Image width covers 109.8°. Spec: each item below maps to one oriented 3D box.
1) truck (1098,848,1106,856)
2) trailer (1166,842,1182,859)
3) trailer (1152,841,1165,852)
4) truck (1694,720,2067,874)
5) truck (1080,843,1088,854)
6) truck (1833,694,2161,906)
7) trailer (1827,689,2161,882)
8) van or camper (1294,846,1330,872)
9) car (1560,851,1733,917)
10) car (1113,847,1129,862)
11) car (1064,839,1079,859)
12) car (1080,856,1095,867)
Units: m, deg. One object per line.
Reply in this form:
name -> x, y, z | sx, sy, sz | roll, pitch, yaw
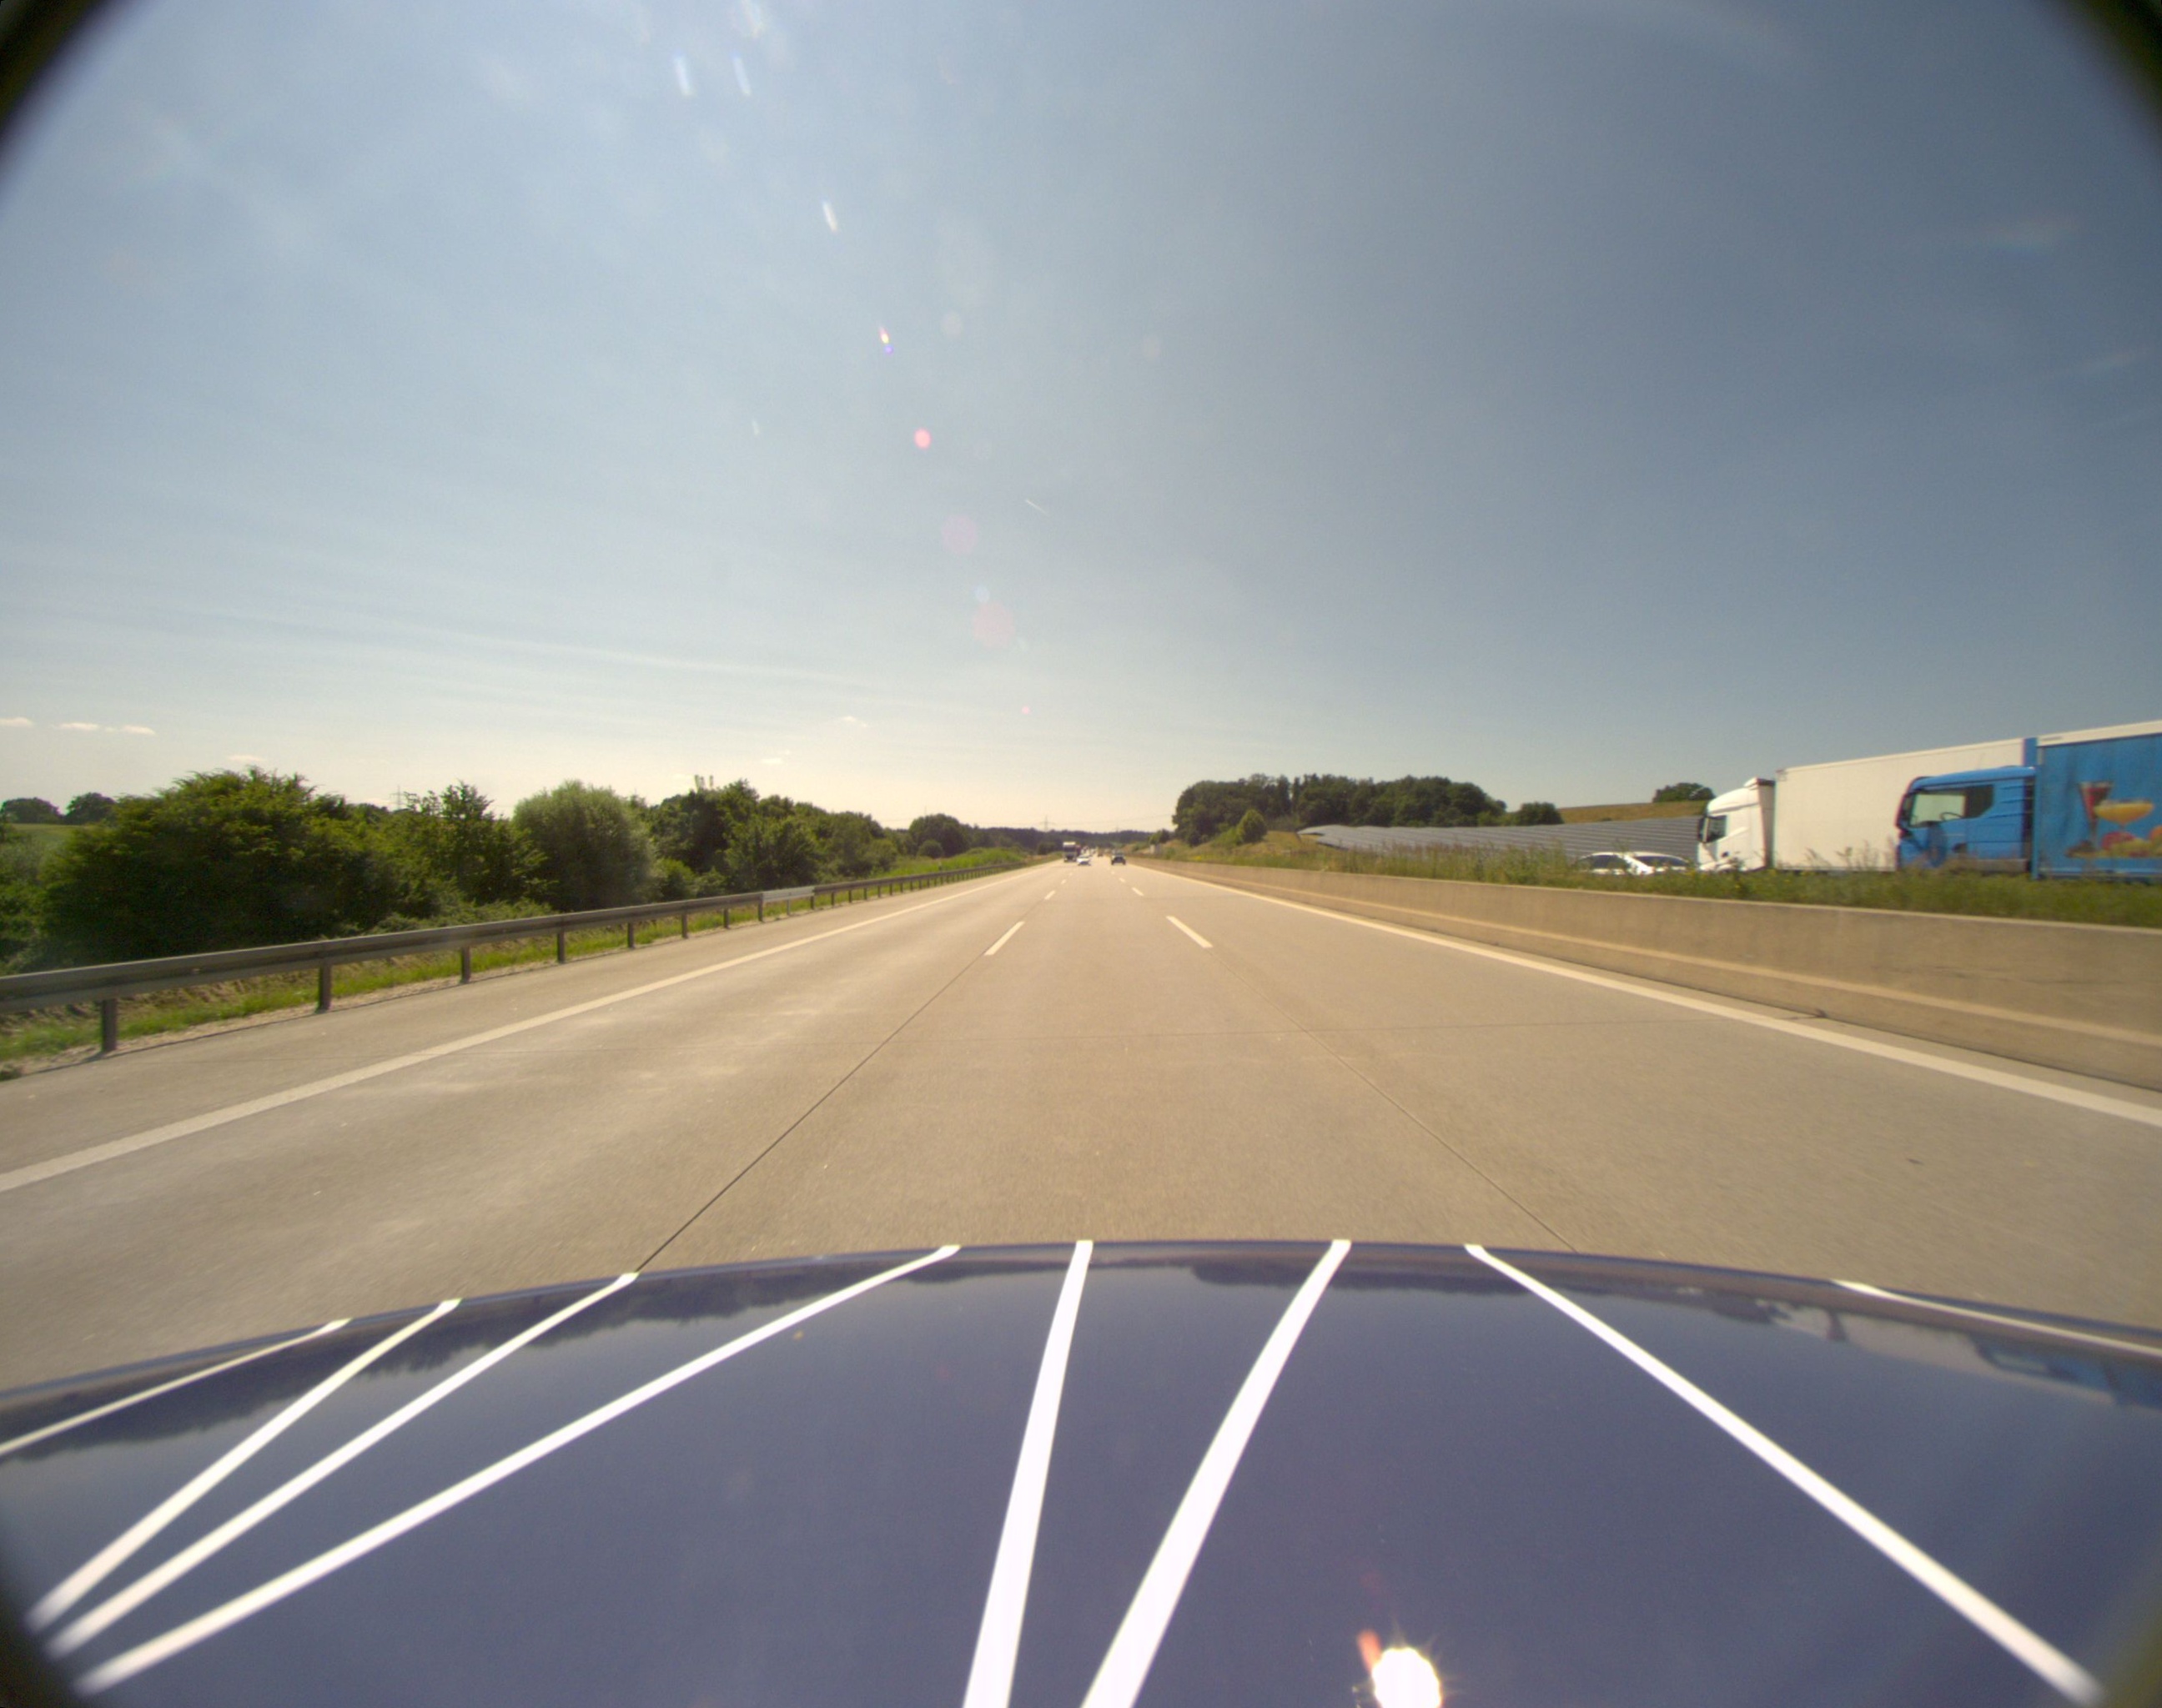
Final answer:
truck -> 7.156, -0.661, 259.317 | 2.262, 2.461, 6.614 | -2, 0, 1
trailer -> 23.651, -0.872, 193.498 | 2.739, 4.167, 10.256 | -2, 0, 1
trailer -> 24.433, -2.325, 239.893 | 2.839, 3.165, 14.503 | -2, 1, 0
truck -> 21.366, -1.365, 21.100 | 3.130, 3.467, 6.884 | -2, 1, 1
truck -> 0.978, -1.827, 248.855 | 2.351, 3.474, 5.245 | -1, 1, 0
truck -> 16.909, -0.822, 10.487 | 2.832, 3.046, 10.374 | -2, 1, 1
trailer -> 21.205, -1.305, 14.224 | 3.082, 3.504, 11.762 | -2, 1, 1
van or camper -> 18.984, 0.383, 62.717 | 1.766, 1.958, 3.950 | -2, 0, 1
car -> 12.939, 0.631, 17.642 | 1.456, 1.293, 3.487 | -2, 1, 1
car -> 5.550, 0.054, 105.581 | 1.998, 1.836, 6.529 | -3, 1, 1
car -> -1.935, -1.060, 158.978 | 2.766, 4.029, 10.852 | -1, 1, 1
car -> 0.885, 1.032, 107.934 | 2.065, 1.472, 5.068 | -2, 0, 0
